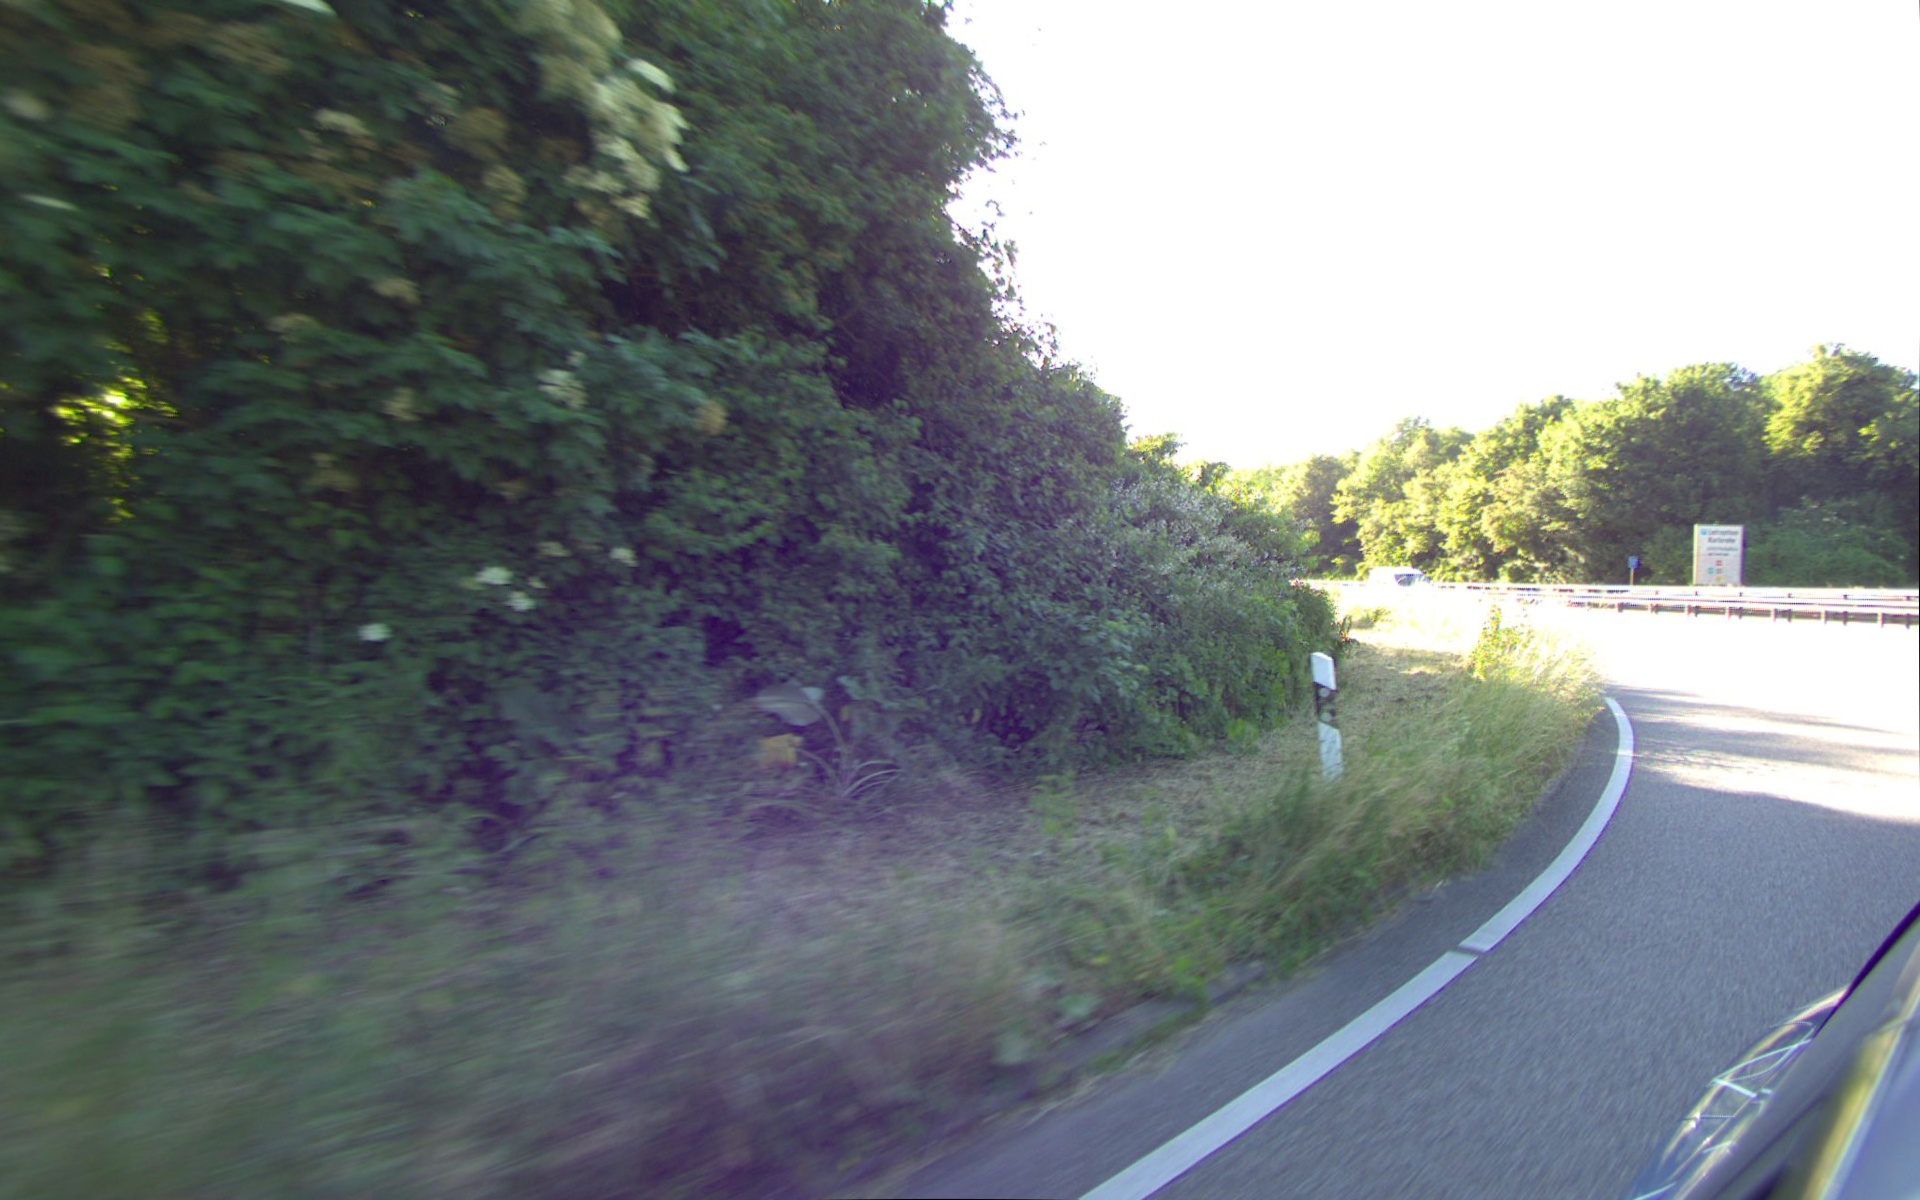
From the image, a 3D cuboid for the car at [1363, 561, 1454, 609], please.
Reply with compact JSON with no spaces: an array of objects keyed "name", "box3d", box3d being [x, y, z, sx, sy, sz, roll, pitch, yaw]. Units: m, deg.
[{"name":"car","box3d":[18.773,-0.696,42.608,1.767,1.829,4.834,-1,3,1]}]
